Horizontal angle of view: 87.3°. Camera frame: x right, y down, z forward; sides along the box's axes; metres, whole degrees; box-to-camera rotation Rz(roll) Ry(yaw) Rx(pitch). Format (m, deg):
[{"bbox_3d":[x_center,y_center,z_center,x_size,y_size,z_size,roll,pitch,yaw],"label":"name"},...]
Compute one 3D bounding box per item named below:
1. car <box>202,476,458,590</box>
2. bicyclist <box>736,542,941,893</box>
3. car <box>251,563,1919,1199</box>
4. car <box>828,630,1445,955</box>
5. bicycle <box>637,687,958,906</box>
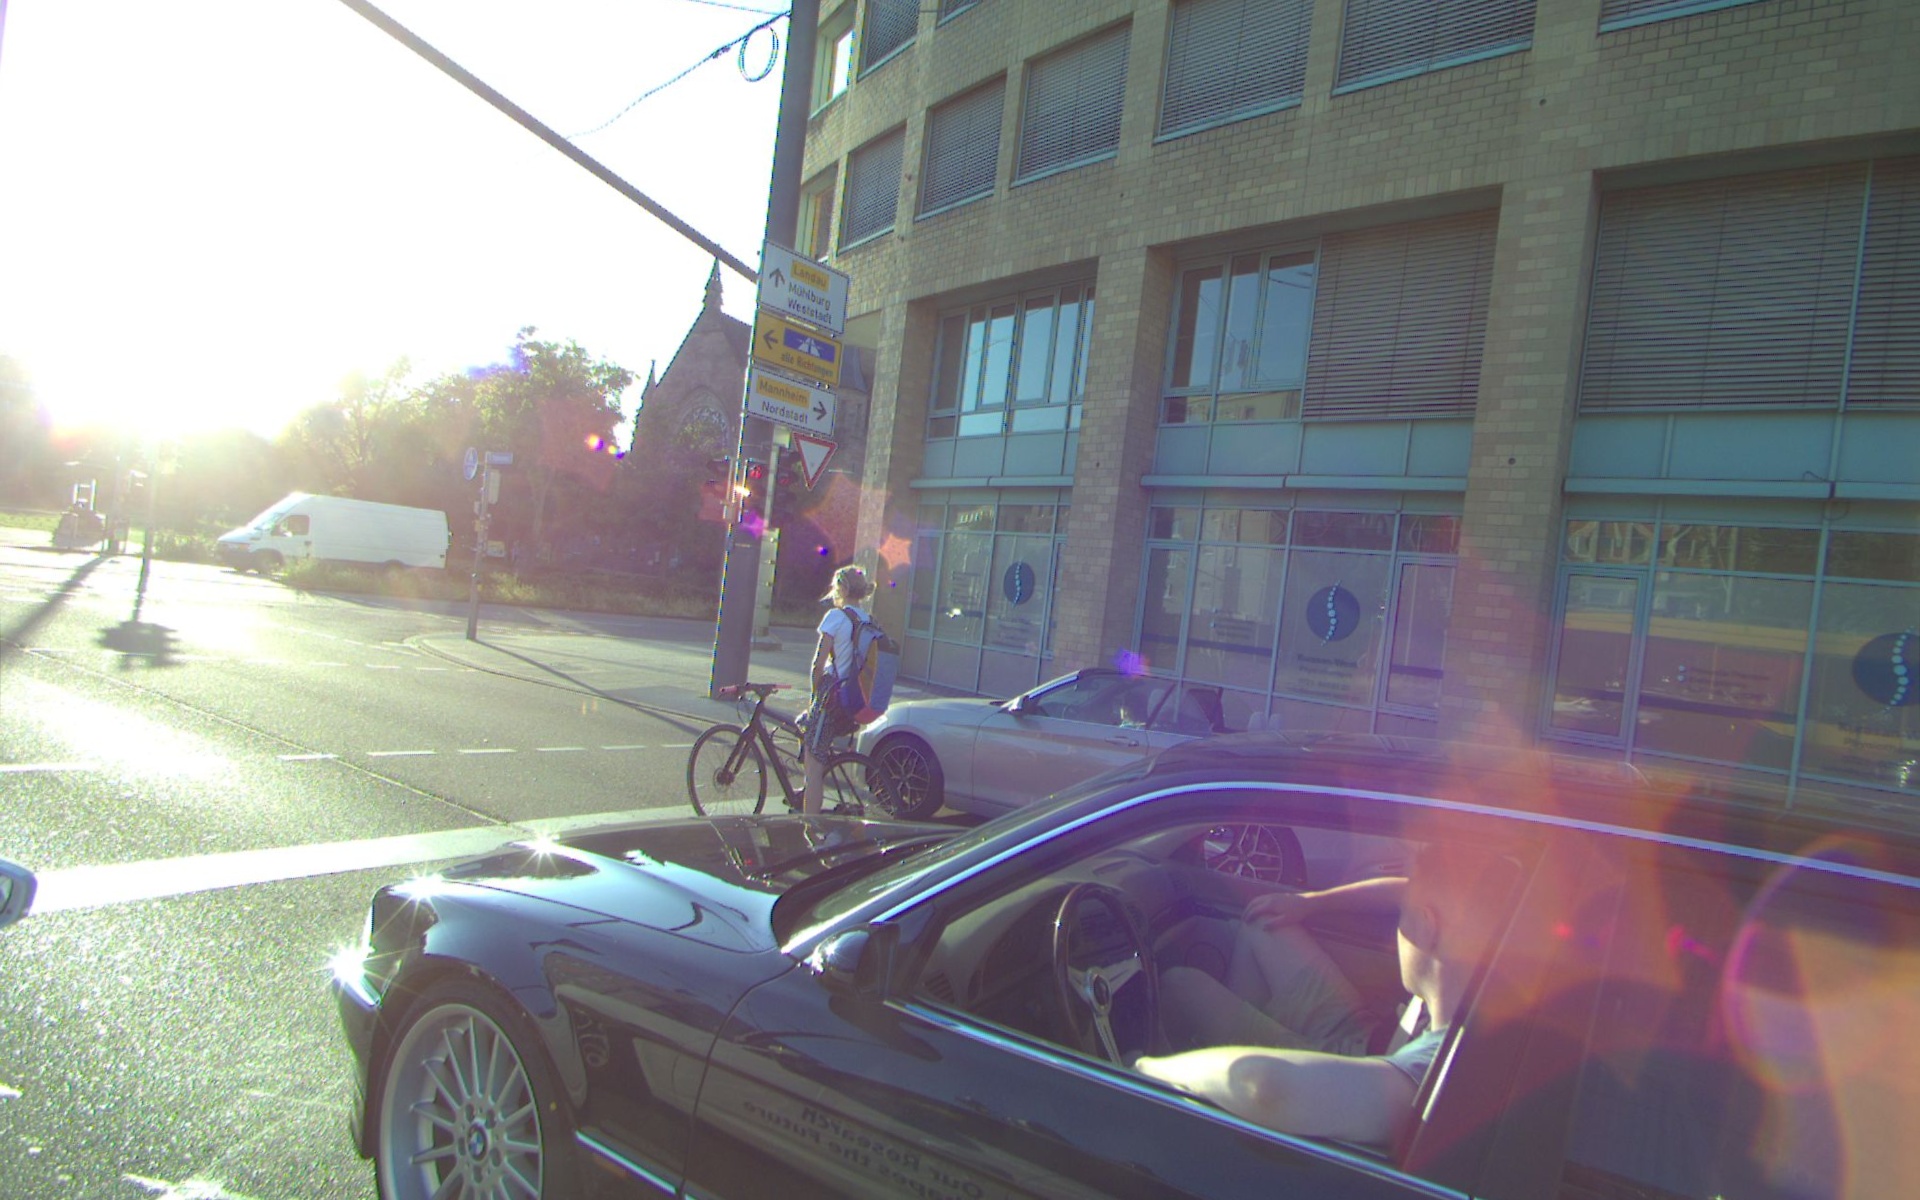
[{"bbox_3d":[-21.255,-2.153,34.434,2.059,2.862,7.017,7,0,33],"label":"car"},{"bbox_3d":[-0.703,0.646,5.865,0.764,1.843,0.634,7,1,30],"label":"bicyclist"},{"bbox_3d":[0.880,0.933,2.001,4.661,1.402,1.997,7,-1,32],"label":"car"},{"bbox_3d":[1.243,1.226,7.653,4.156,1.401,1.747,7,-1,31],"label":"car"},{"bbox_3d":[-1.005,1.096,6.021,1.838,0.884,0.634,7,0,30],"label":"bicycle"}]
